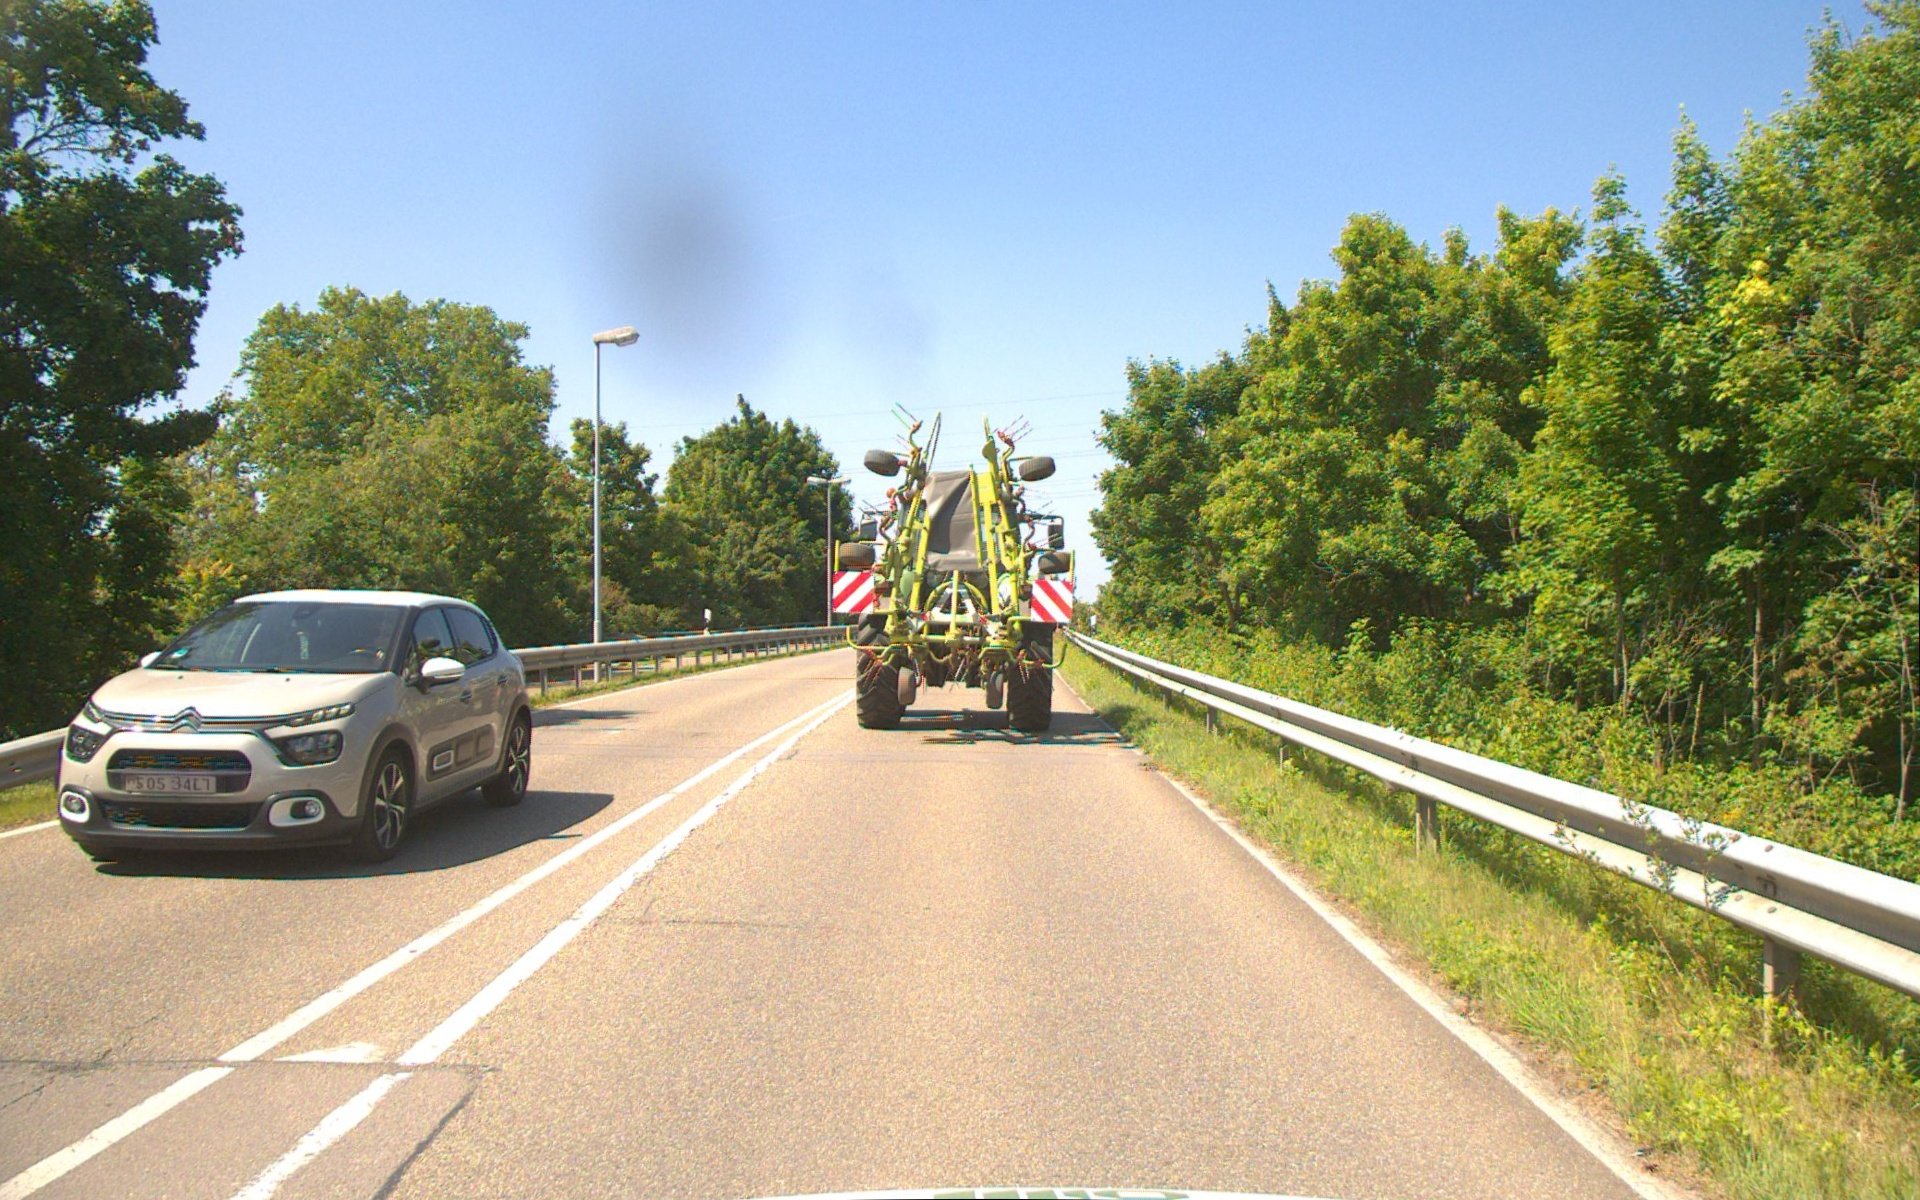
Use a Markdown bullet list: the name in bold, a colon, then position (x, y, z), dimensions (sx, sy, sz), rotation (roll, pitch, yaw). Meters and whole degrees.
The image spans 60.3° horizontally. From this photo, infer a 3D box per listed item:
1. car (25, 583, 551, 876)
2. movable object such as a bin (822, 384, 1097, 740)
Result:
- **car**: position (-3.914, 0.651, 10.399), dimensions (1.704, 1.481, 3.888), rotation (1, 0, 0)
- **movable object such as a bin**: position (-0.074, -0.377, 19.204), dimensions (2.699, 3.504, 5.668), rotation (0, 0, -2)
